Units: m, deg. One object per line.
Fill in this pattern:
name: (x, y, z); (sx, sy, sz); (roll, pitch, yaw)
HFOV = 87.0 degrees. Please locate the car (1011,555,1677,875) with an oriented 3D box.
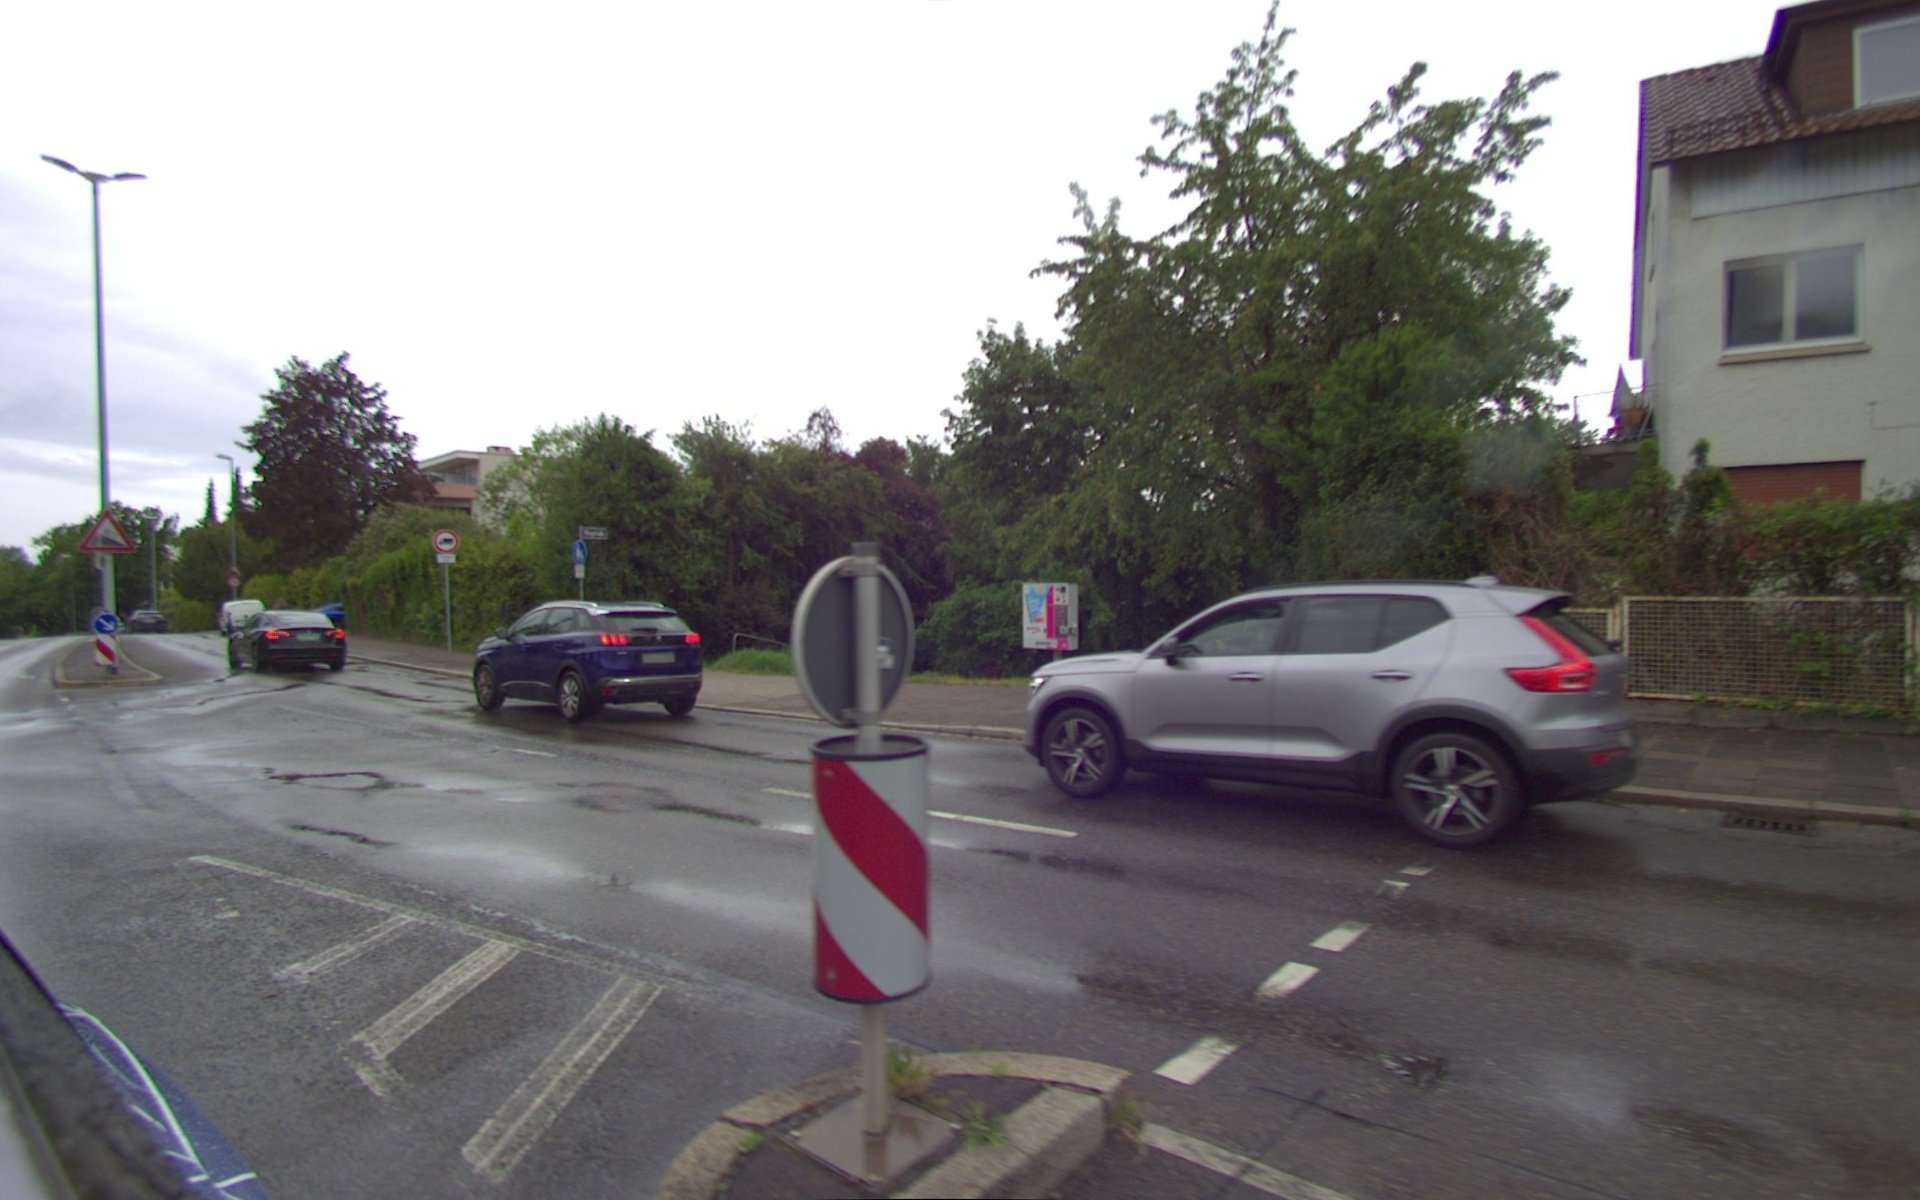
car: (2.606, 0.607, 7.443); (4.228, 1.690, 1.863); (0, 0, 40)

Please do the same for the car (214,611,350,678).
car: (-16.717, 1.038, 24.869); (4.447, 1.487, 1.844); (0, -2, 44)

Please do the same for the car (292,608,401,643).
car: (-27.307, 1.115, 45.106); (3.834, 1.467, 1.769); (0, 0, -45)

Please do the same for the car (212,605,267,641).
car: (-36.579, 1.151, 51.341); (1.794, 1.730, 4.005); (0, 0, -42)

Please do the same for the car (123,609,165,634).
car: (-50.735, 1.323, 62.919); (1.794, 1.467, 4.005); (0, 0, -42)

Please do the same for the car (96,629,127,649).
car: (-68.680, 3.125, 81.888); (1.794, 1.467, 4.005); (0, 0, -42)

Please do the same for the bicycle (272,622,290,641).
bicycle: (-33.918, 1.572, 50.559); (0.732, 0.857, 1.977); (-1, 0, -35)

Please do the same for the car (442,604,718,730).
car: (-5.637, 0.866, 14.746); (4.444, 1.565, 1.845); (0, -2, 41)

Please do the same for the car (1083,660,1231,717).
car: (5.496, 2.404, 28.036); (3.934, 1.367, 1.848); (2, -2, -36)

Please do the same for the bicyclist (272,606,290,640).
bicyclist: (-33.859, 1.131, 50.469); (0.732, 1.659, 0.779); (-1, 0, -35)
